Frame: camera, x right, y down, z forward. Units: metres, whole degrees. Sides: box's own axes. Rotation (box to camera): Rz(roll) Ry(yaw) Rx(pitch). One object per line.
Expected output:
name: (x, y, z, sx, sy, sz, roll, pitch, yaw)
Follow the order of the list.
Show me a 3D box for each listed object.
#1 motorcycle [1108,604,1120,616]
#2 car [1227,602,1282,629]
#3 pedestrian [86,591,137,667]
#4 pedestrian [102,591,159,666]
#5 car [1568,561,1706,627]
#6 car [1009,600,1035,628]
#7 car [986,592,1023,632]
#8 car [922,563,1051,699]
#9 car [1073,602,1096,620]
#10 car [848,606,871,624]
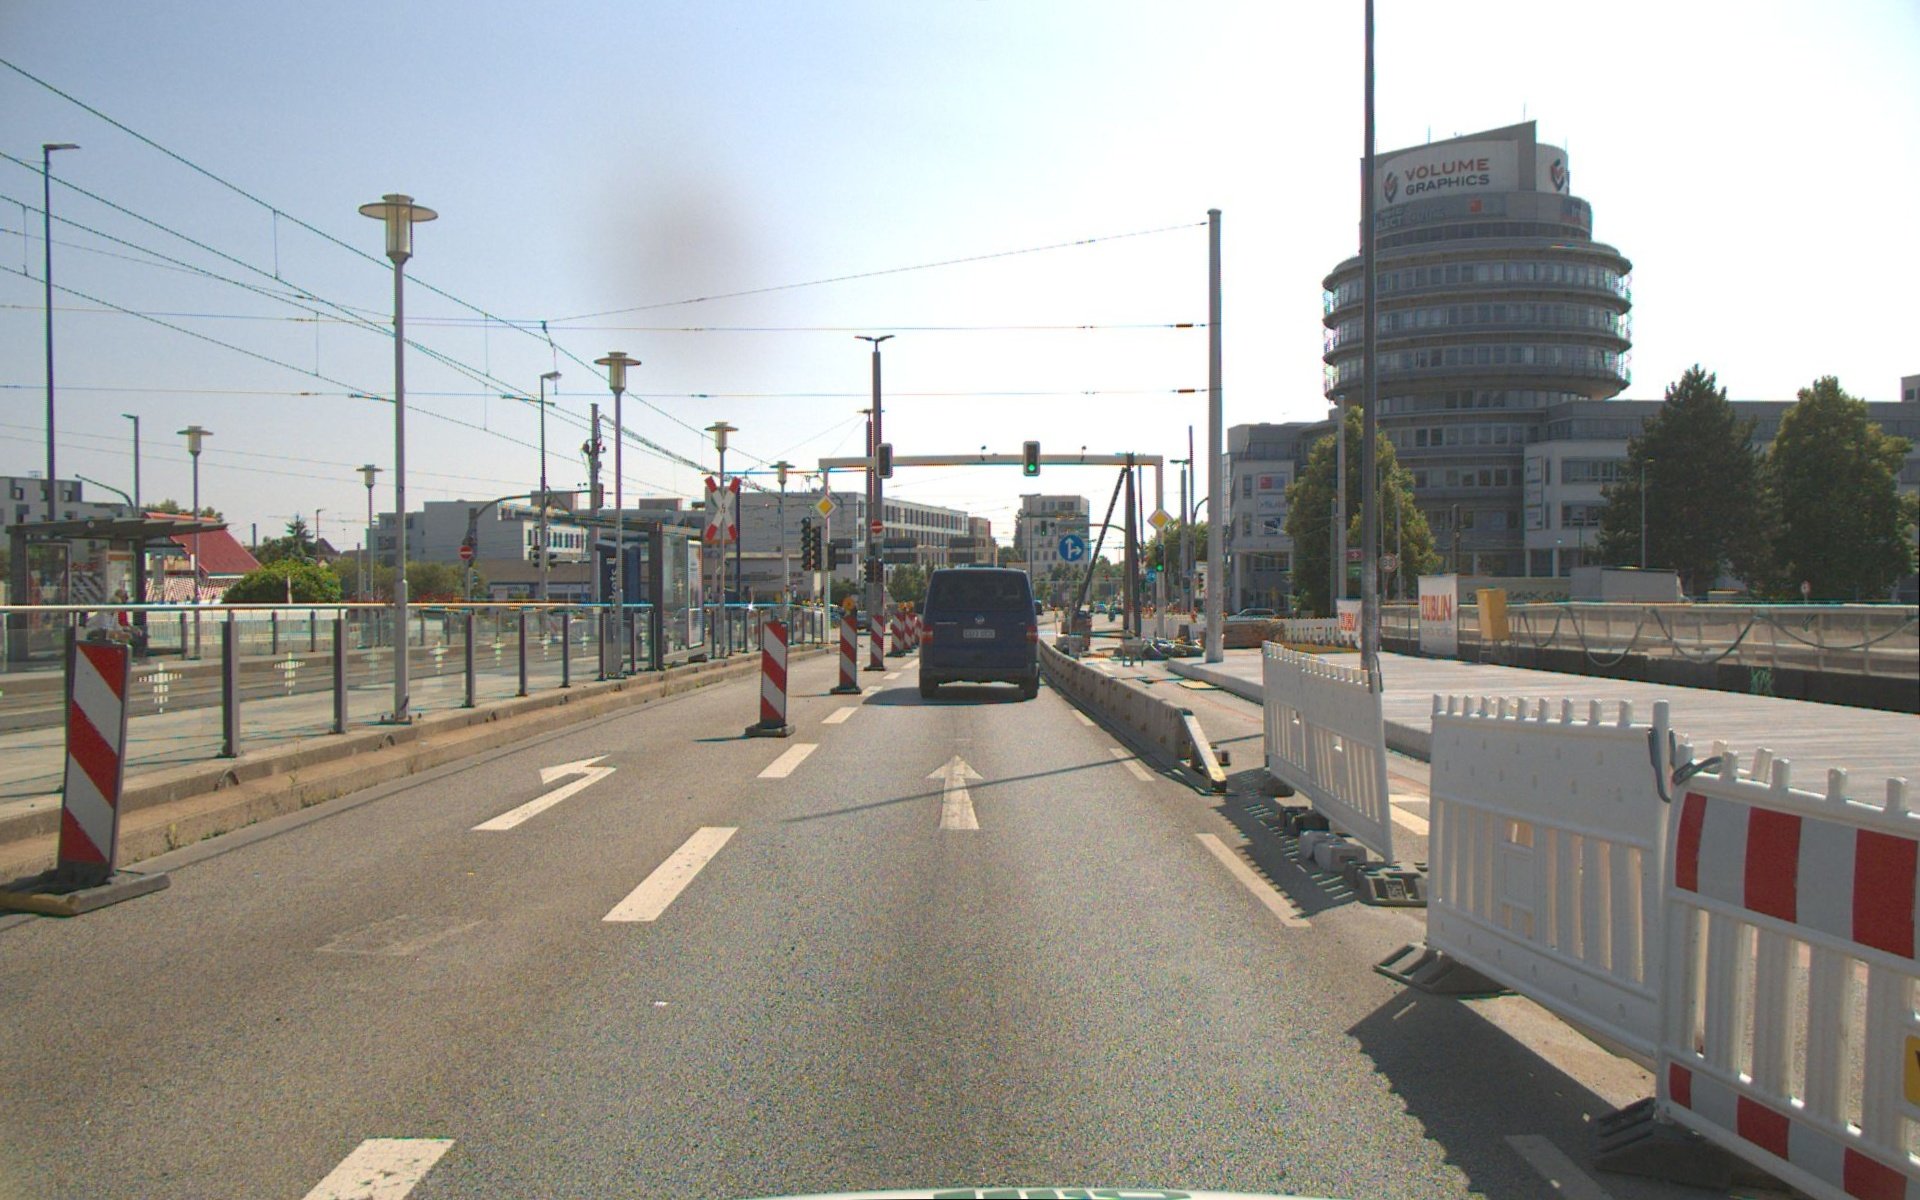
motorcycle: (17.081, 1.092, 182.967, 1.137, 1.264, 3.010, 1, 1, 8)
car: (21.502, 1.131, 120.901, 3.735, 1.829, 1.681, 1, 1, 1)
pedestrian: (-14.625, 0.497, 28.513, 0.634, 1.296, 0.453, 0, 0, 3)
pedestrian: (-14.594, 0.490, 29.097, 0.634, 1.296, 0.697, 0, 0, 3)
car: (31.557, -0.298, 77.108, 5.859, 2.937, 2.334, 1, 1, -19)
car: (4.048, 0.890, 107.494, 1.611, 1.758, 3.718, 1, 0, 3)
car: (2.117, 0.534, 77.309, 1.611, 1.758, 4.002, 1, 0, 3)
car: (0.407, 0.427, 26.375, 1.849, 1.968, 4.001, 1, 1, 0)
car: (10.549, 0.940, 140.214, 1.708, 1.501, 3.885, 0, 0, 0)
car: (-8.641, 1.302, 142.564, 1.711, 1.512, 3.999, -1, 0, -1)
